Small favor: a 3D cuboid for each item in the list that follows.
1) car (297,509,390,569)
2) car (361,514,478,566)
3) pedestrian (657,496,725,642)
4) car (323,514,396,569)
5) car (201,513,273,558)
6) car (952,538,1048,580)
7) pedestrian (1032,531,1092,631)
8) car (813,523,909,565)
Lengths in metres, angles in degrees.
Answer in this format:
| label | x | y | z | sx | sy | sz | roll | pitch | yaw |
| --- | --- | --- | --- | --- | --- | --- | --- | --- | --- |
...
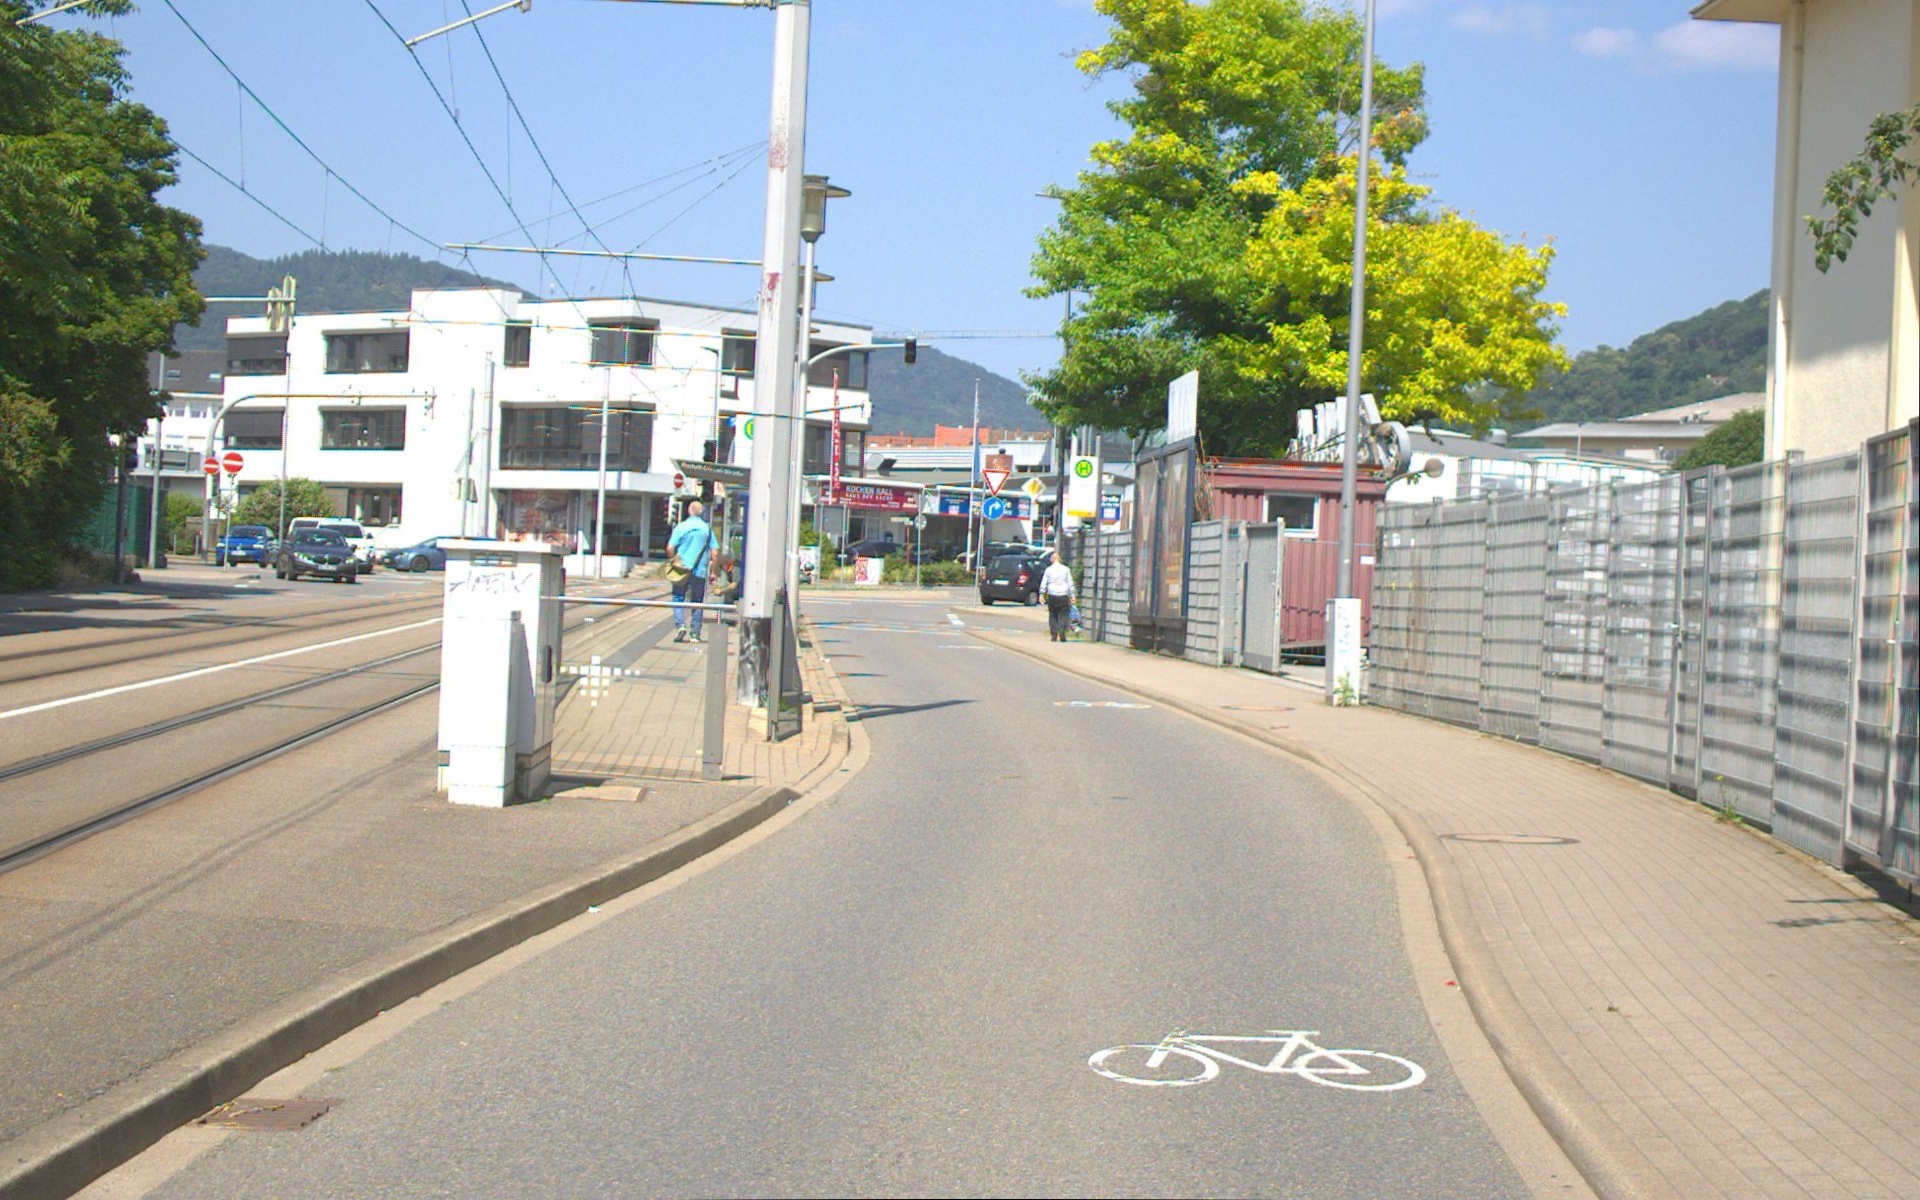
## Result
| label | x | y | z | sx | sy | sz | roll | pitch | yaw |
| --- | --- | --- | --- | --- | --- | --- | --- | --- | --- |
| car | -16.761 | -1.667 | 93.608 | 1.786 | 1.546 | 4.000 | 2 | 1 | -1 |
| car | -19.101 | -2.114 | 121.526 | 3.892 | 1.674 | 1.732 | 2 | 1 | -14 |
| pedestrian | -3.281 | -0.381 | 41.938 | 0.743 | 1.734 | 0.727 | 2 | 1 | -3 |
| car | -18.911 | -1.863 | 108.211 | 1.755 | 1.642 | 3.763 | 2 | 1 | -17 |
| car | -25.055 | -2.252 | 119.034 | 1.755 | 1.484 | 3.763 | 2 | 1 | -22 |
| car | 1.719 | -1.744 | 147.046 | 1.864 | 1.656 | 3.990 | 3 | 1 | 43 |
| pedestrian | 1.897 | -0.354 | 63.925 | 0.940 | 1.781 | 0.953 | 3 | 2 | -4 |
| car | -4.286 | -2.426 | 148.933 | 1.734 | 1.656 | 3.989 | 3 | 1 | 44 |
